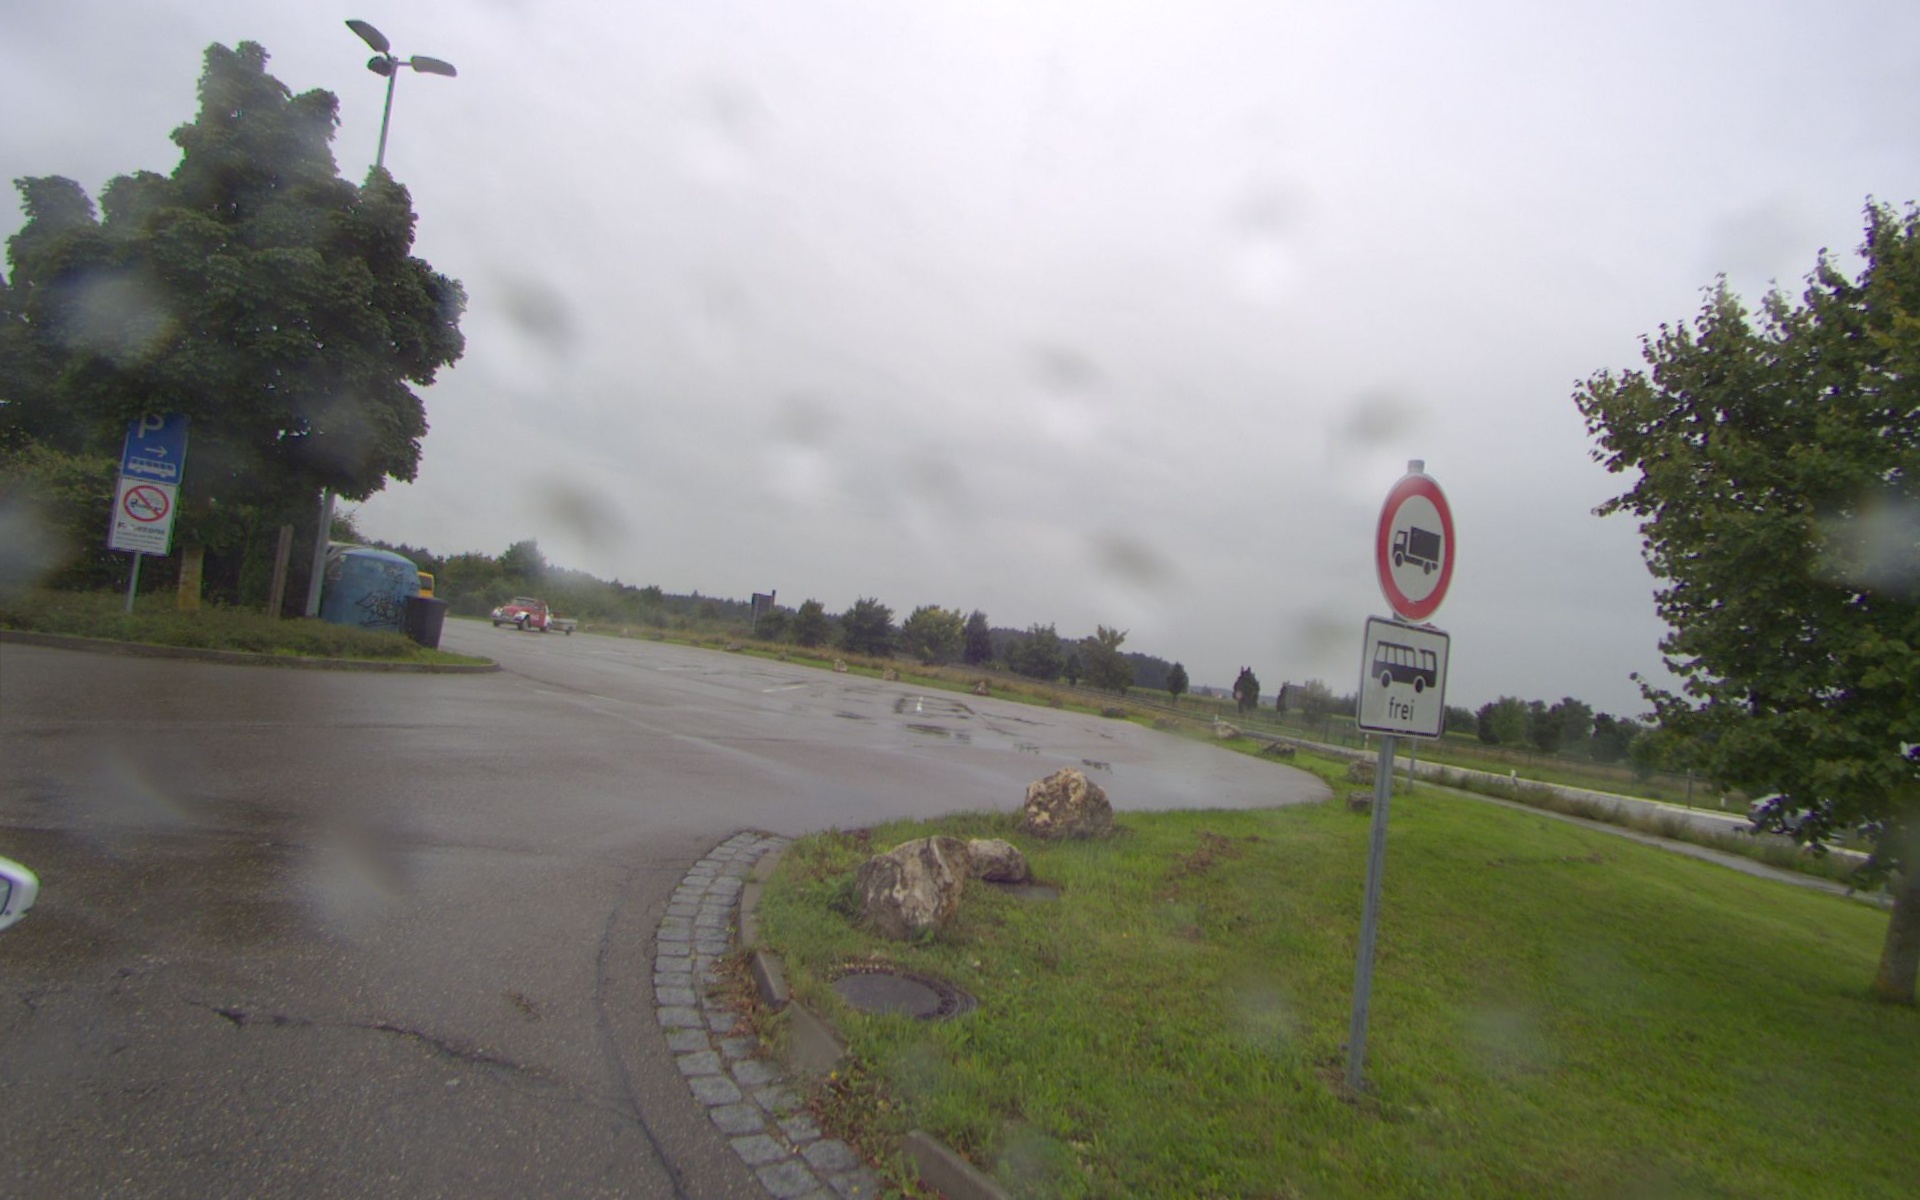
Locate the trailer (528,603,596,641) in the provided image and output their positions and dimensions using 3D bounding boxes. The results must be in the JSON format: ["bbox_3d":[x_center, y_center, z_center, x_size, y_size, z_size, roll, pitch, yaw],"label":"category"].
[{"bbox_3d":[-20.034,1.152,50.785,1.669,1.549,4.005,7,-3,0],"label":"trailer"}]

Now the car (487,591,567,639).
[{"bbox_3d":[-20.053,0.755,46.781,1.794,1.796,4.007,7,-4,1],"label":"car"}]

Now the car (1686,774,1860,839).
[{"bbox_3d":[30.335,7.683,37.714,1.976,1.498,4.636,8,-3,-26],"label":"car"}]

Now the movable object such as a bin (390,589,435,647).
[{"bbox_3d":[-9.758,0.330,17.941,0.398,0.959,0.451,9,-2,-2],"label":"movable object such as a bin"}]

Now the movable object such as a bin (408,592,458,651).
[{"bbox_3d":[-9.287,0.380,17.734,0.427,0.959,0.474,8,-2,21],"label":"movable object such as a bin"}]

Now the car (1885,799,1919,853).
[{"bbox_3d":[33.115,7.676,32.342,1.978,1.619,4.498,10,-4,-26],"label":"car"}]
